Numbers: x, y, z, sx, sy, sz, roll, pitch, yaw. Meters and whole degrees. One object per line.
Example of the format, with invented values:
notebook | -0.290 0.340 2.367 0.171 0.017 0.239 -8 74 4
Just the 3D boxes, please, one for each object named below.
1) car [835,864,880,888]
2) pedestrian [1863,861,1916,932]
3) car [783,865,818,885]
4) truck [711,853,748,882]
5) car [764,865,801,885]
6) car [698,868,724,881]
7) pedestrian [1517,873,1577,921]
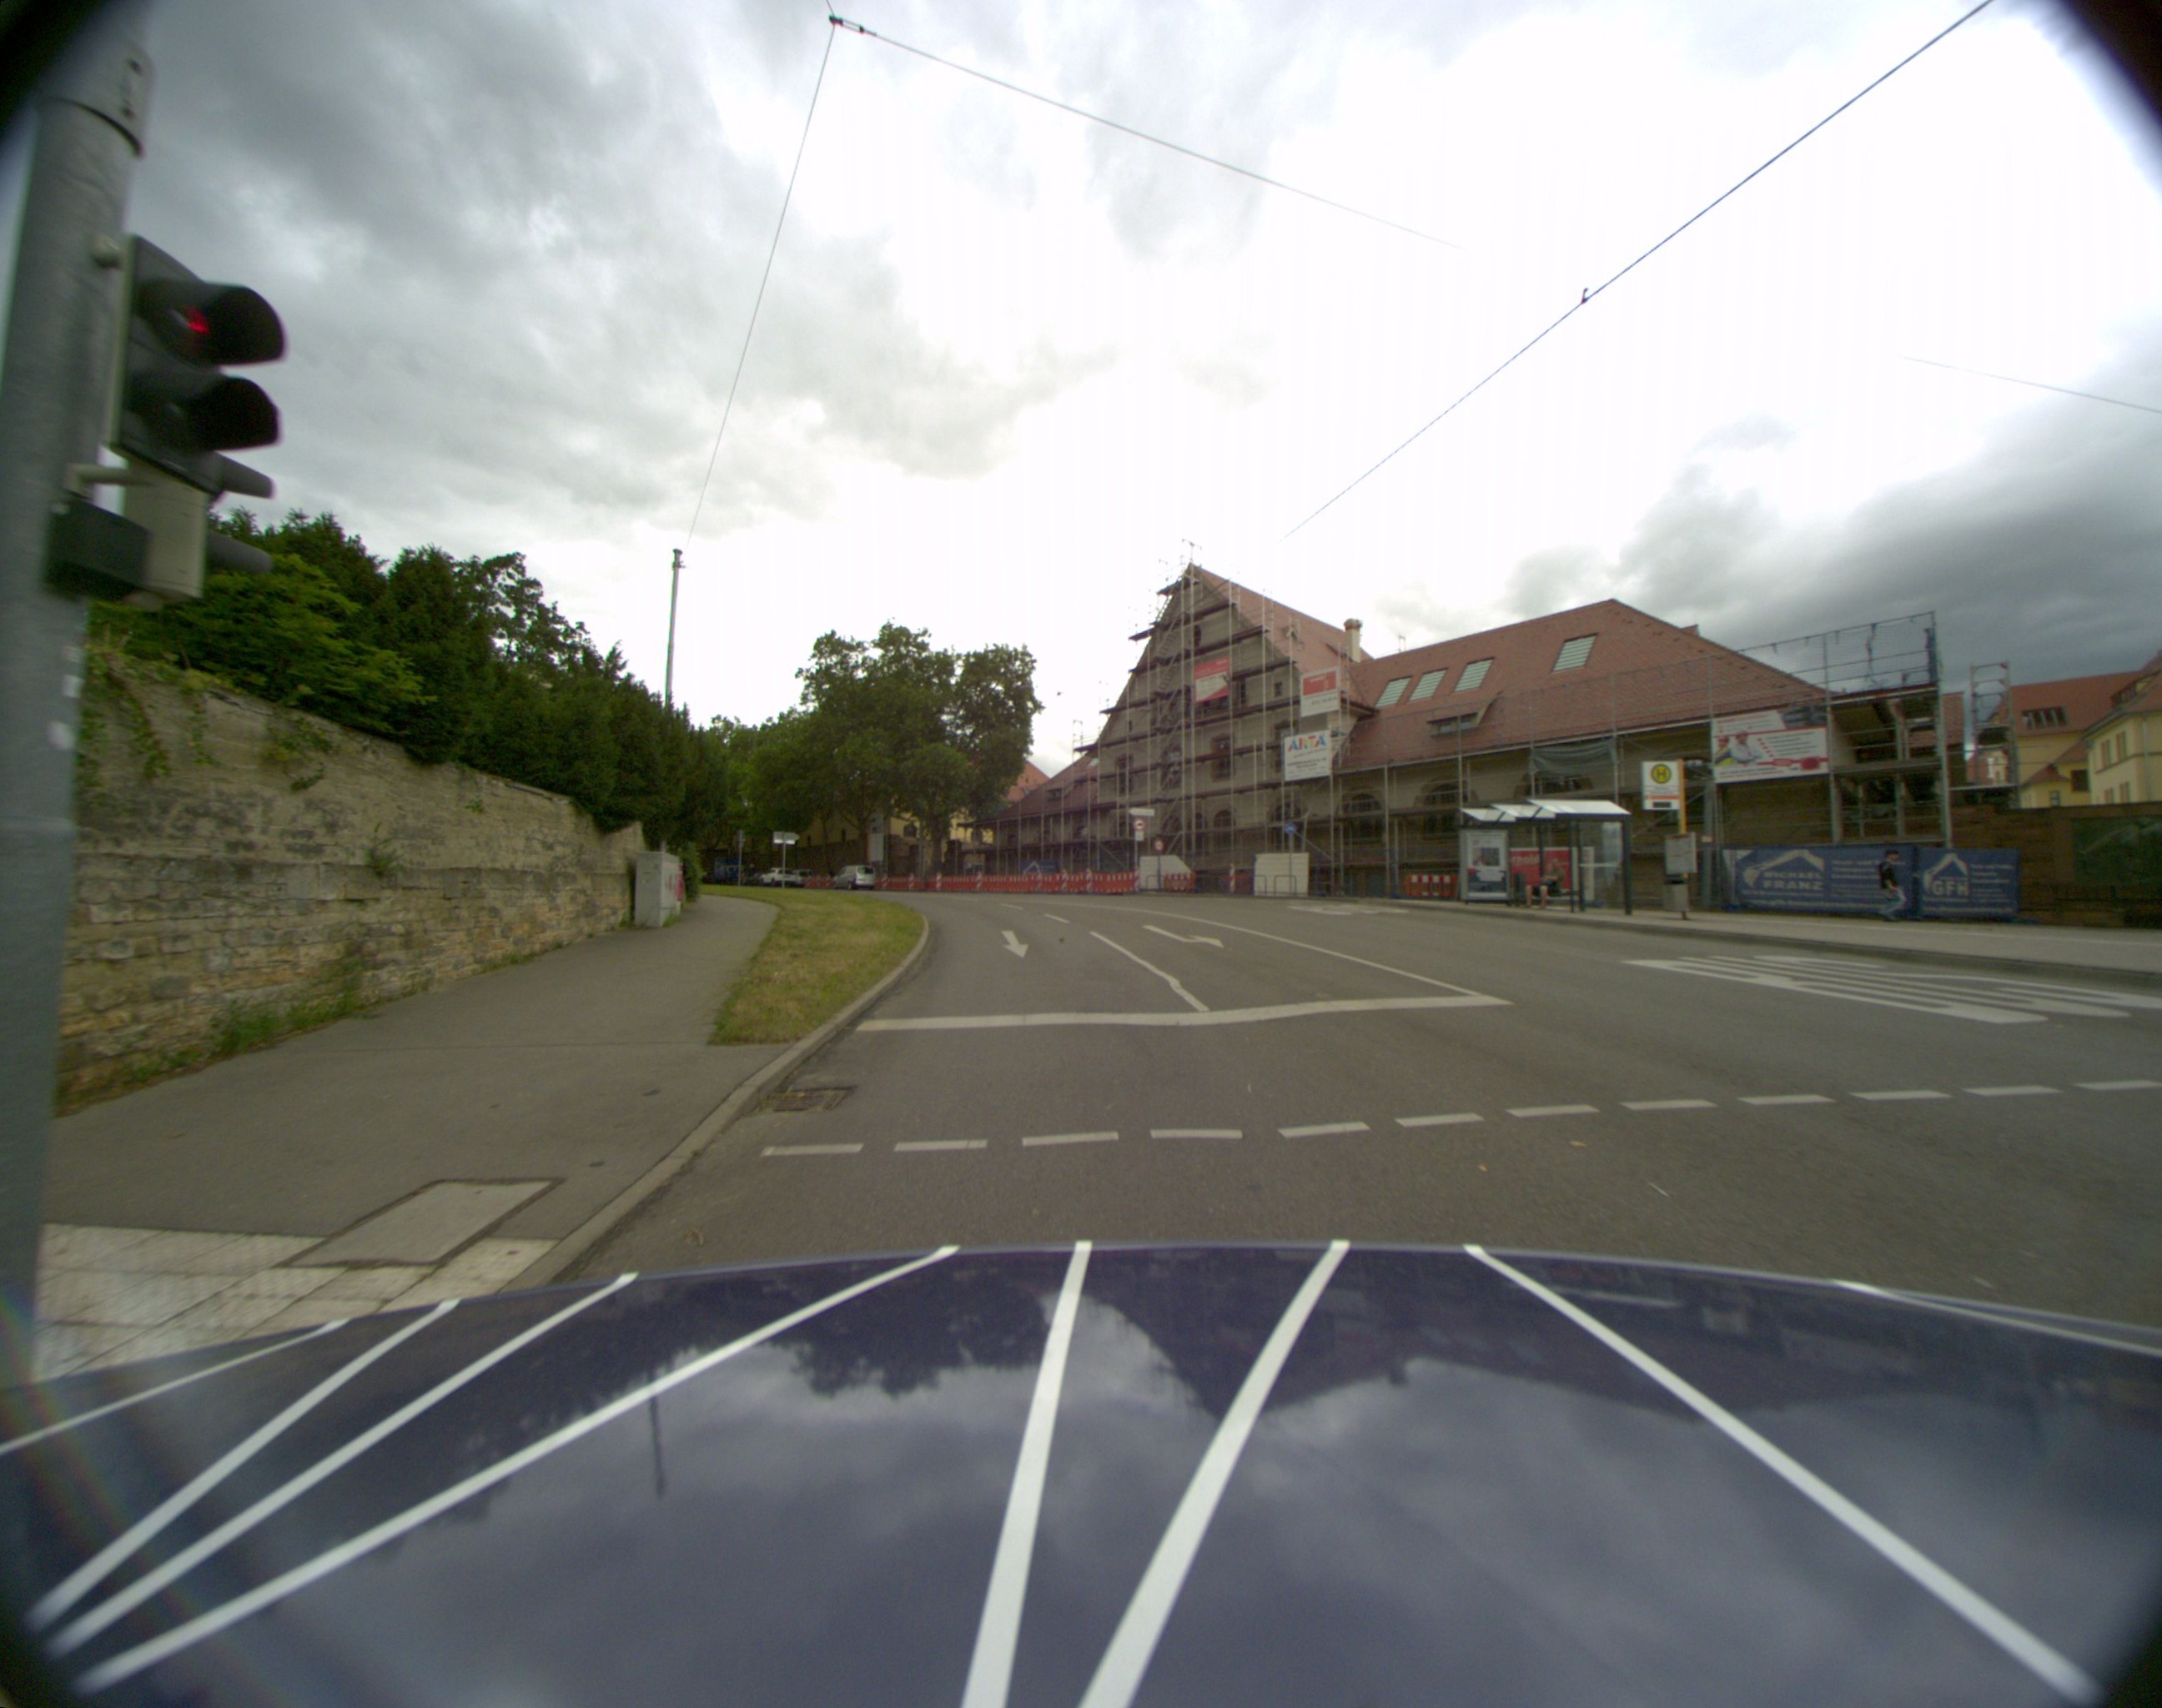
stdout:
car | -15.558 1.509 52.779 1.701 1.604 4.072 0 -1 -38
pedestrian | 20.018 1.021 18.819 0.928 1.710 0.796 0 0 -37
car | -27.659 2.114 74.903 1.844 1.864 4.404 3 -3 -39
truck | -43.077 1.631 92.959 2.227 3.395 7.227 0 -1 -41
car | -25.451 1.843 64.690 1.801 1.600 4.497 3 -3 -37
car | -43.382 2.431 89.016 1.812 1.463 4.836 2 -2 -38
pedestrian | 12.042 1.108 19.661 0.936 1.185 0.904 2 -1 -11
